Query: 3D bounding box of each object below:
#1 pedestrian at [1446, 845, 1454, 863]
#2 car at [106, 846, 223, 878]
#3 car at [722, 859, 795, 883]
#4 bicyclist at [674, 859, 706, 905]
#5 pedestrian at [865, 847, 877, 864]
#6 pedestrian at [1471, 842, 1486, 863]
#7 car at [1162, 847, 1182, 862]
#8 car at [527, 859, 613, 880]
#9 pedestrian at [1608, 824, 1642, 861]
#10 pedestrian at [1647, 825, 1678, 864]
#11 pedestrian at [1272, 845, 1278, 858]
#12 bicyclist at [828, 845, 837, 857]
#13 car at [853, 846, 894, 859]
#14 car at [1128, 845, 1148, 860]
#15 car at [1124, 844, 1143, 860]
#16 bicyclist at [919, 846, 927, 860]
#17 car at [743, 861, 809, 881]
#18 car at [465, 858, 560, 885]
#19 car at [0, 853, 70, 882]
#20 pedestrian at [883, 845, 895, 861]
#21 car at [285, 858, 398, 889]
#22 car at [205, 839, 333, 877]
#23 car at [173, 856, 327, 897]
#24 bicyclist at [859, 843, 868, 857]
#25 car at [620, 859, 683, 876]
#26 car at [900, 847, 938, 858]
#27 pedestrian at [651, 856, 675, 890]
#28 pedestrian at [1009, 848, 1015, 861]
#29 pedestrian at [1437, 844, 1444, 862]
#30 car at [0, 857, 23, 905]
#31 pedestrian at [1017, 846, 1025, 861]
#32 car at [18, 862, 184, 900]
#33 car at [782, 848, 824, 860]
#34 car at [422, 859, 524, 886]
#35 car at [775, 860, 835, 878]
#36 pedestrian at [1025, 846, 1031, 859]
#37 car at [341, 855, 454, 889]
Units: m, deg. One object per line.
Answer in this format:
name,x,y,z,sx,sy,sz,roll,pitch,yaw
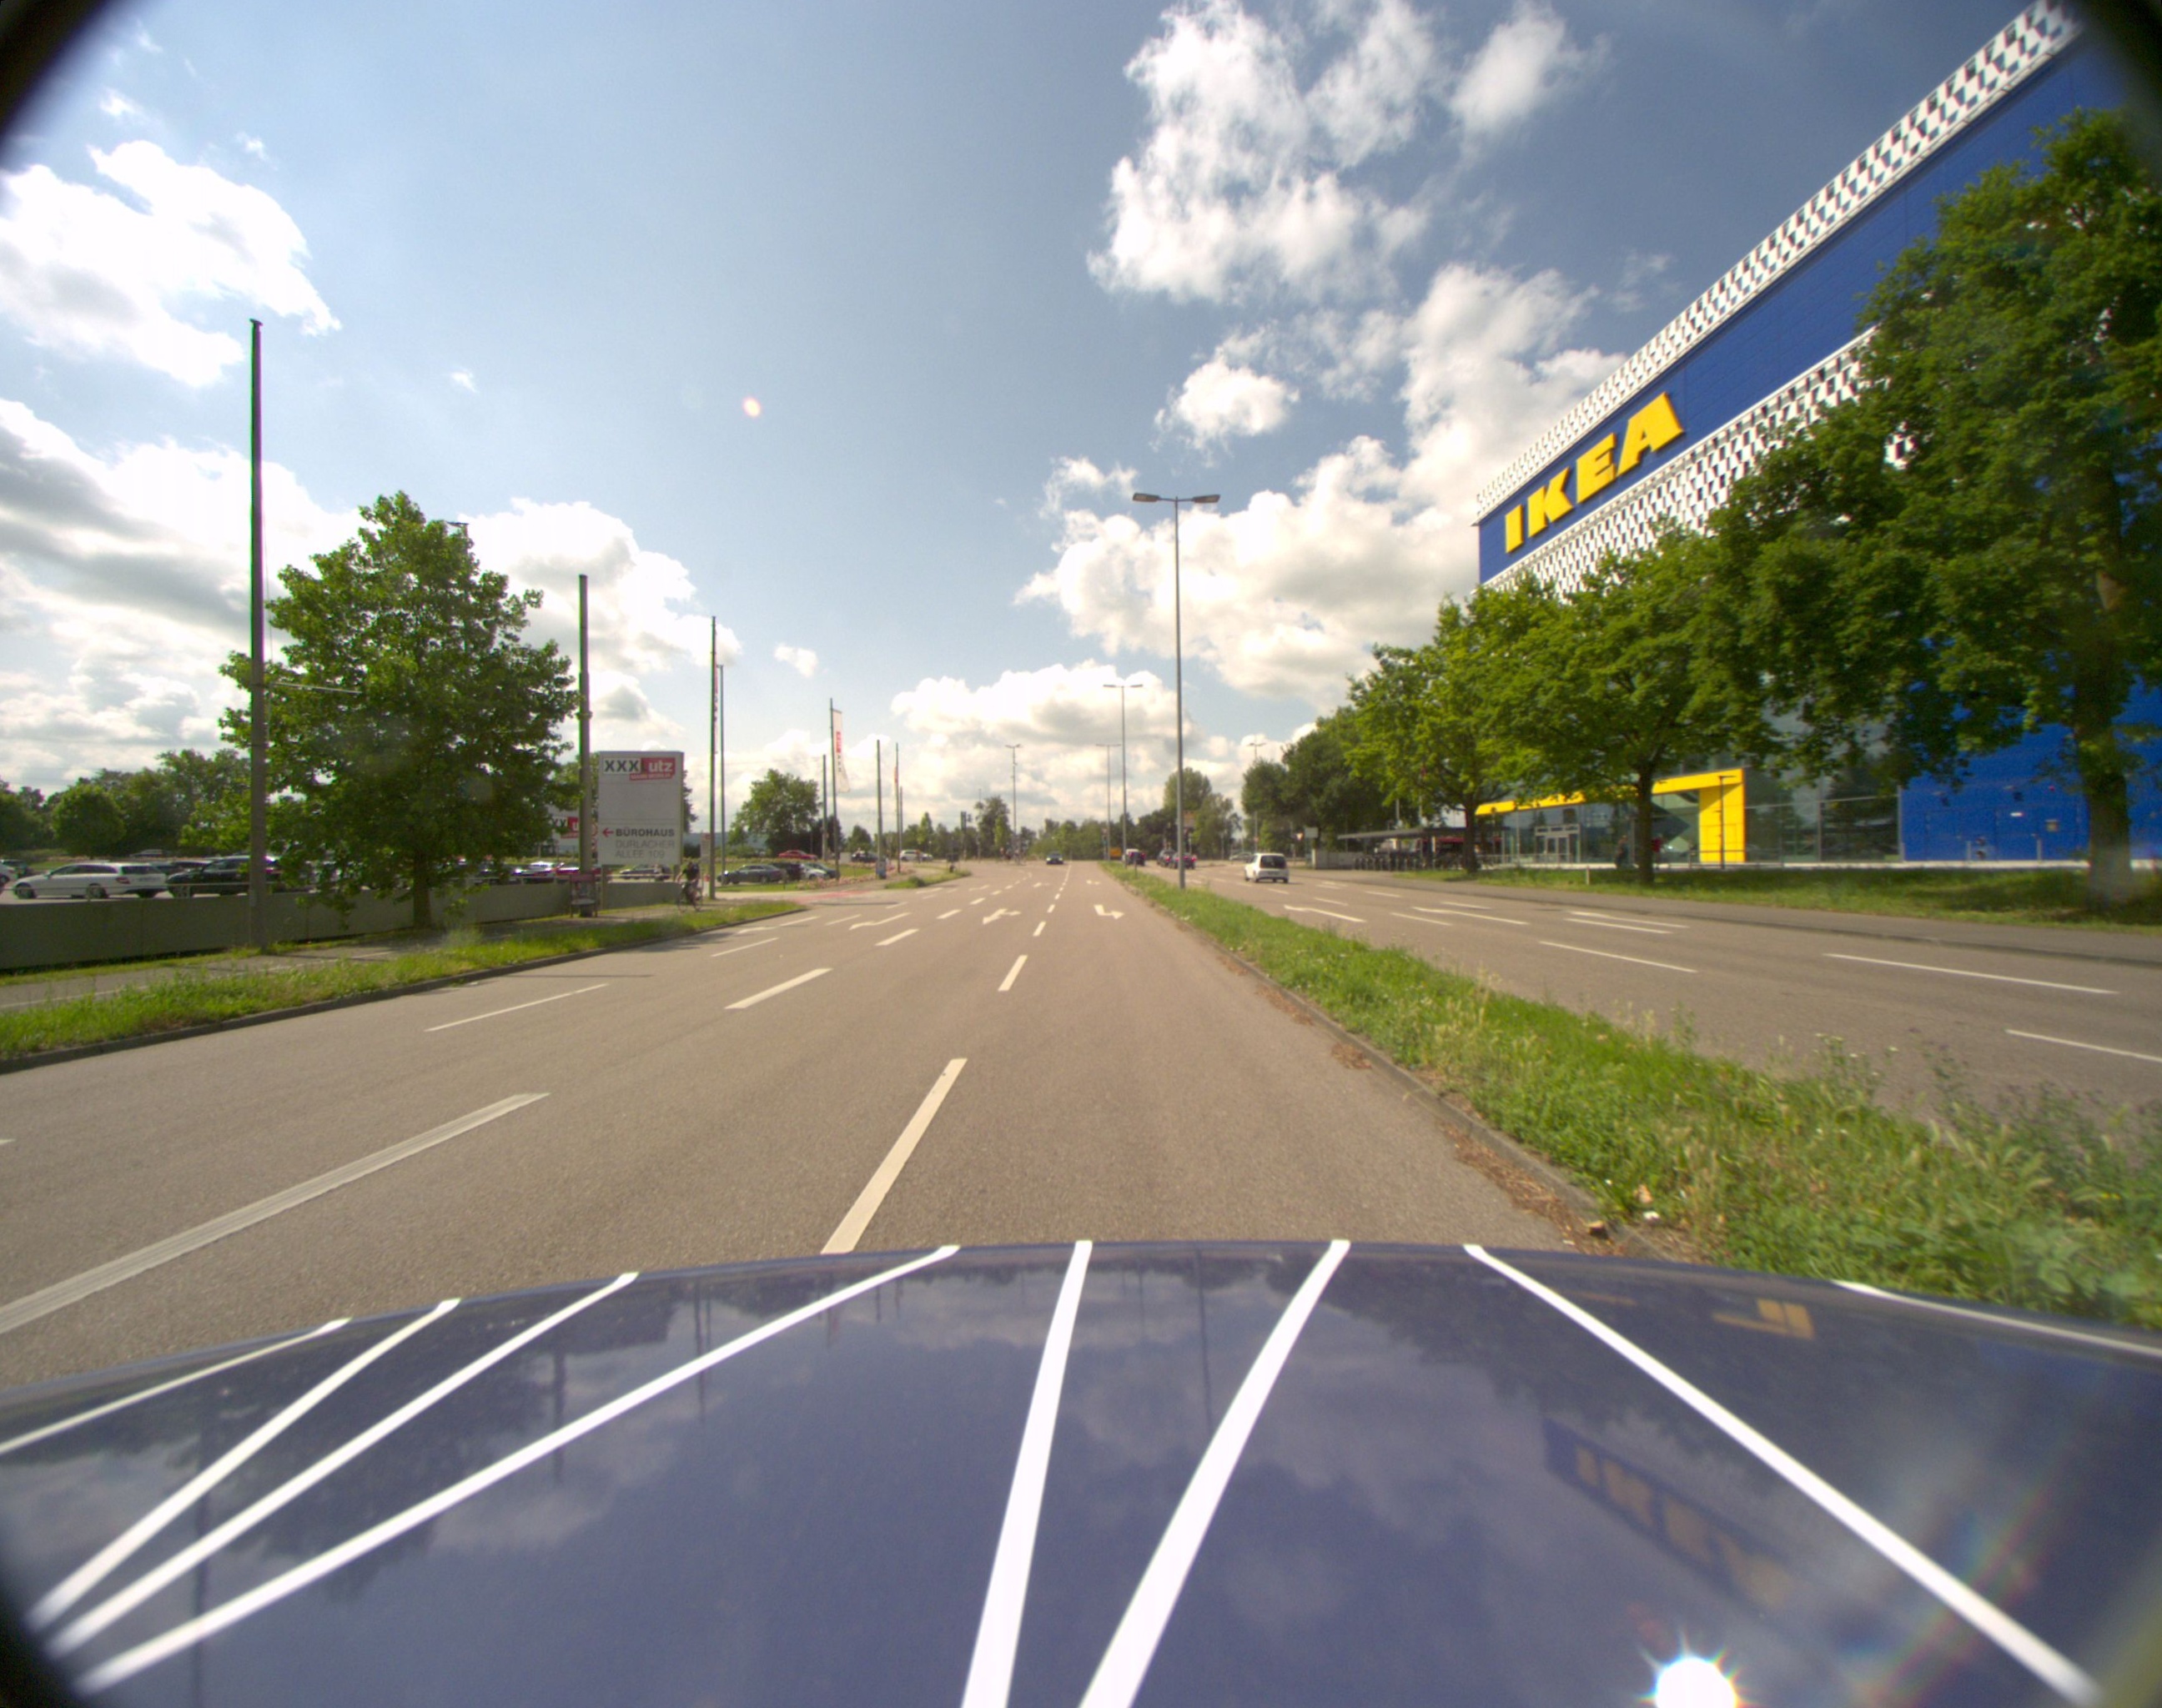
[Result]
pedestrian,36.758,-0.001,75.760,0.528,1.693,0.410,-1,0,-9
car,-49.091,0.417,40.748,4.058,1.543,1.851,-2,1,2
car,-23.239,1.220,54.819,4.369,1.468,1.857,-2,1,2
bicyclist,-12.318,0.869,23.974,0.617,1.404,0.715,0,0,1
pedestrian,-22.390,0.170,80.990,0.820,1.792,0.761,-1,1,27
pedestrian,32.291,-0.144,61.722,0.898,1.697,0.710,-1,1,-1
car,8.663,0.021,72.840,1.415,1.383,4.095,1,1,0
car,-33.312,1.011,49.625,4.369,1.354,1.847,1,-1,2
pedestrian,25.398,-0.543,35.500,0.952,1.693,0.887,-2,1,0
pedestrian,27.271,-0.443,35.658,0.755,1.812,0.887,-2,1,0
pedestrian,21.640,-0.266,84.833,0.439,1.482,0.619,-1,1,-16
bicyclist,-27.674,-0.364,84.570,0.686,1.318,0.593,-1,0,11
car,-24.001,-0.153,87.828,4.193,1.474,1.918,1,1,17
car,5.644,-0.186,75.786,1.608,1.485,4.131,1,1,0
car,5.685,-0.275,83.153,1.712,1.610,4.376,1,1,-1
bicyclist,-18.006,-0.107,86.573,0.698,1.526,0.619,-1,0,-26
car,-23.912,1.309,59.641,4.369,1.408,1.856,-1,1,1
car,-33.308,0.987,44.598,4.369,1.499,1.682,1,0,2
car,-65.151,0.833,46.498,3.996,1.728,2.000,-1,0,2
pedestrian,-20.923,-0.077,82.799,0.860,1.754,0.867,-1,0,27
car,-38.814,0.989,39.949,4.159,1.499,1.826,-1,0,1
car,-69.612,0.309,65.243,7.897,3.136,3.122,0,1,3
car,-32.855,0.864,30.141,4.065,1.522,1.741,1,1,-3
bicyclist,-24.123,-0.438,84.189,0.742,1.466,0.651,-1,0,1
car,-38.058,1.166,67.434,4.369,1.400,2.050,1,-1,2
car,-20.694,-0.182,97.109,4.495,1.405,2.013,0,0,-3
pedestrian,-21.886,0.978,39.775,0.874,1.772,0.782,-1,0,-45
pedestrian,-8.105,0.008,89.295,0.584,1.515,0.469,-2,1,9
pedestrian,35.547,-0.086,75.204,0.410,1.693,0.516,-1,0,-6
car,-38.694,0.896,25.265,4.370,1.610,1.814,0,-1,-1
pedestrian,-6.982,-0.019,88.197,0.688,1.718,0.701,0,2,11
car,-38.804,1.075,30.168,4.300,1.419,1.760,0,-2,0
car,-32.707,0.020,89.486,4.247,1.352,1.748,0,1,-4
car,-33.627,1.004,42.060,4.369,1.433,1.627,1,-1,2
car,-23.535,1.251,64.883,4.369,1.431,1.796,-1,0,1
pedestrian,-6.349,-0.139,90.513,0.556,1.515,0.470,-1,0,9
car,-33.727,0.881,37.571,4.025,1.578,1.695,-1,-1,-1
